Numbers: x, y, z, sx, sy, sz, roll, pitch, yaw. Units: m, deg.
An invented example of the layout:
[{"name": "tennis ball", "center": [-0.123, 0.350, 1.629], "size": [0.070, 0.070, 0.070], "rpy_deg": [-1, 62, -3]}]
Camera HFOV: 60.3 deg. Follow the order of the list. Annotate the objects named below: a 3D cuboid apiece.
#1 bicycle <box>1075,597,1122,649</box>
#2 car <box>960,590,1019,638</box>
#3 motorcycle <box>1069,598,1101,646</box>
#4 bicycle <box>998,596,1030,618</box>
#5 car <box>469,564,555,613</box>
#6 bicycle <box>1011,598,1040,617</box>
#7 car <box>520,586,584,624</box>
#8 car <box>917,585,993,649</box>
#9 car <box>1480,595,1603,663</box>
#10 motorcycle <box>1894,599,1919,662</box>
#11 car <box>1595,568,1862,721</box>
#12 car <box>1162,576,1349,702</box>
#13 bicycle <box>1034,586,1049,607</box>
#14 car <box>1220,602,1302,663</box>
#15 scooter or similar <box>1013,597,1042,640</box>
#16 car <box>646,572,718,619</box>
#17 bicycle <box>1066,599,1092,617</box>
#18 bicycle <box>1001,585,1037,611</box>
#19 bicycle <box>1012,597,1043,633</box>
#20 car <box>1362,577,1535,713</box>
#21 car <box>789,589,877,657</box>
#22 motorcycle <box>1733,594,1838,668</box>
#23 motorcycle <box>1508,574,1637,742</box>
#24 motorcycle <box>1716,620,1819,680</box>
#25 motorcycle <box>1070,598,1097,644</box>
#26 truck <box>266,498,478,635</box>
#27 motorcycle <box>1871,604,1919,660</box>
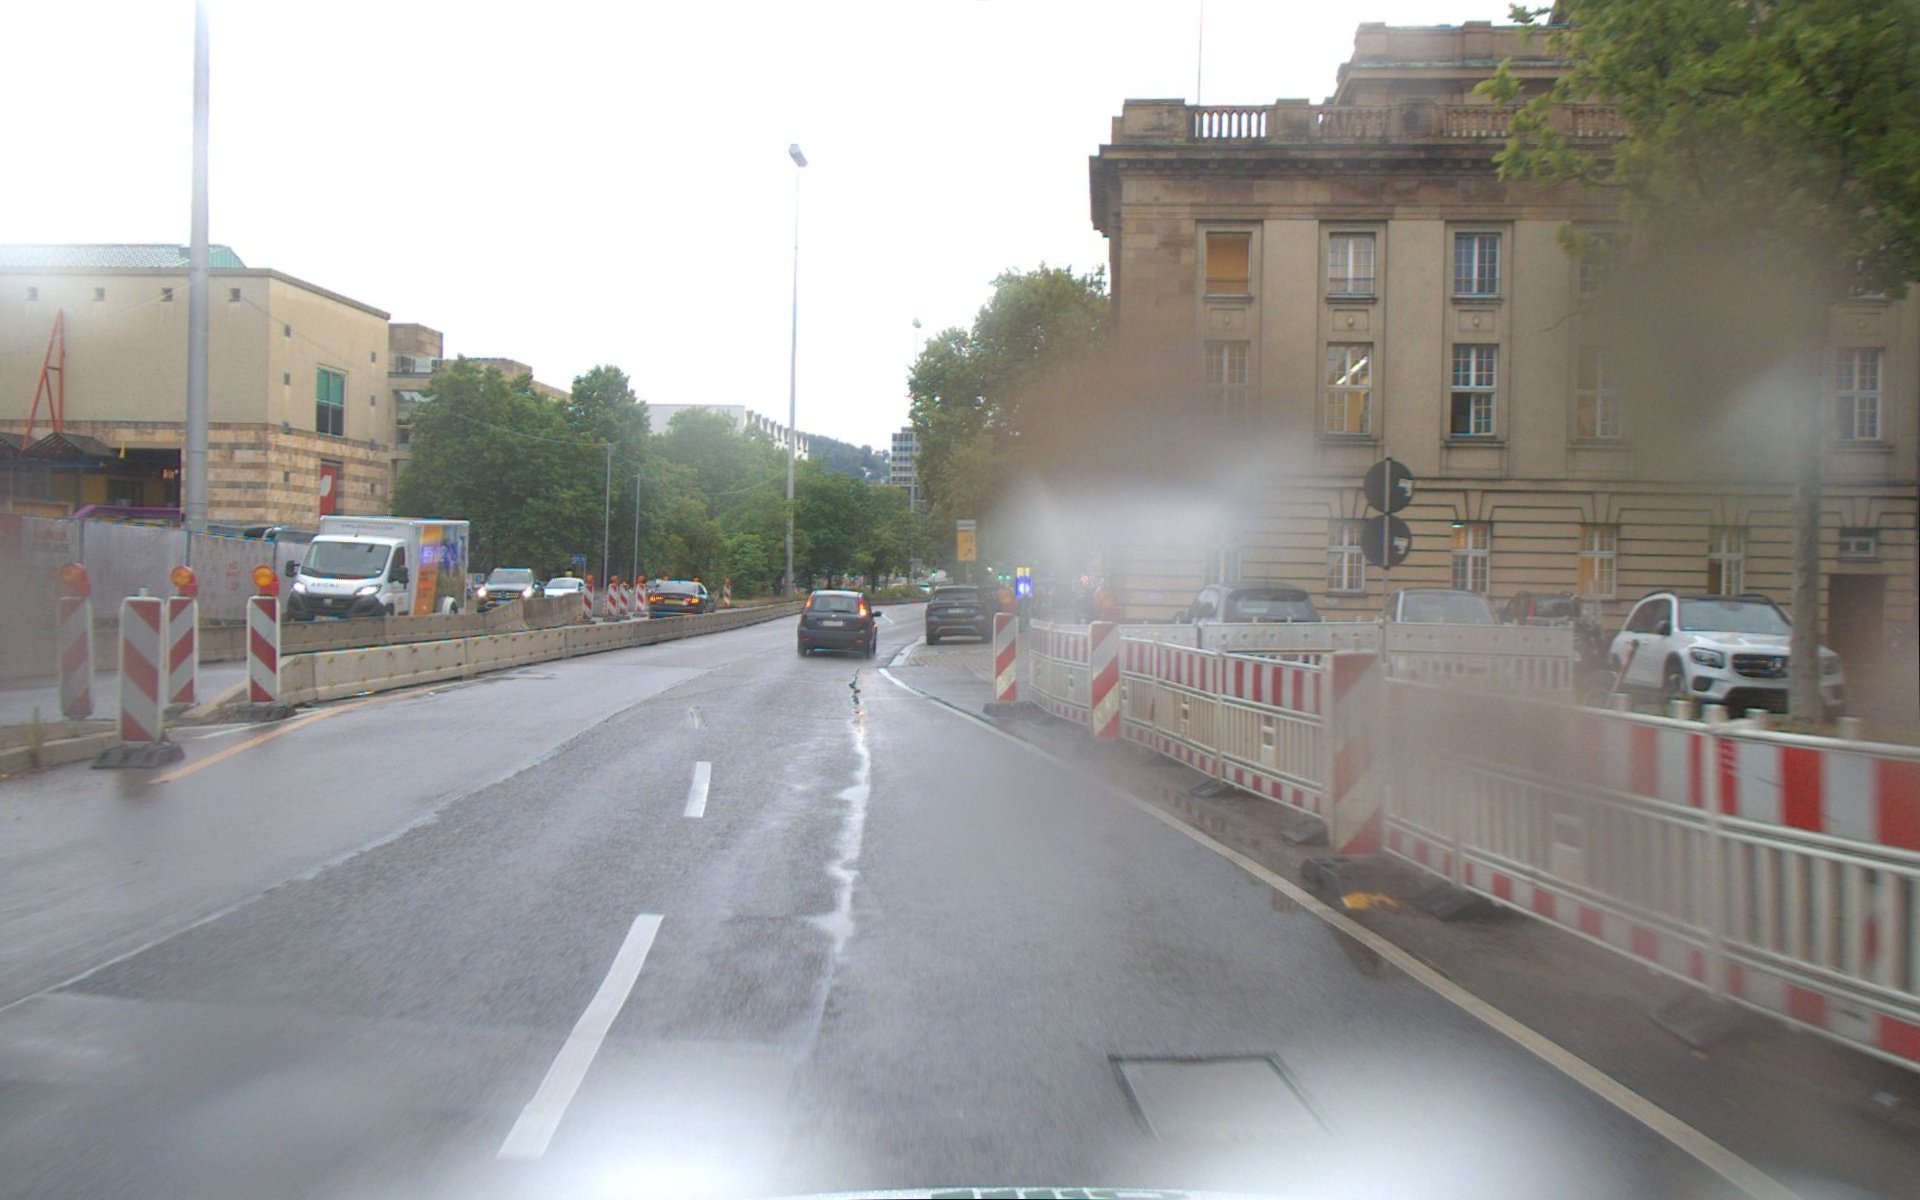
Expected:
[{"name": "bicycle", "center": [3.756, 0.610, 44.924], "size": [1.079, 1.340, 1.858], "rpy_deg": [2, 0, 0]}, {"name": "car", "center": [1.198, 0.544, 65.527], "size": [1.951, 1.812, 4.191], "rpy_deg": [2, 0, 6]}, {"name": "motorcycle", "center": [3.623, 0.623, 47.658], "size": [0.789, 1.321, 1.800], "rpy_deg": [2, 0, 7]}, {"name": "bicycle", "center": [2.907, 0.386, 89.579], "size": [1.643, 1.109, 0.651], "rpy_deg": [2, 0, 6]}, {"name": "car", "center": [-15.113, -0.396, 56.044], "size": [1.882, 1.556, 4.757], "rpy_deg": [1, 1, -4]}, {"name": "bicycle", "center": [3.621, 0.430, 91.581], "size": [1.556, 1.012, 0.525], "rpy_deg": [2, 0, 6]}, {"name": "car", "center": [-17.534, 0.189, 71.238], "size": [1.954, 1.556, 3.997], "rpy_deg": [1, 1, -4]}, {"name": "car", "center": [-0.088, 0.423, 45.338], "size": [1.832, 1.647, 4.406], "rpy_deg": [0, 0, 3]}, {"name": "car", "center": [14.451, 0.679, 41.334], "size": [1.780, 1.566, 4.511], "rpy_deg": [0, 1, 4]}, {"name": "motorcycle", "center": [23.449, 0.738, 39.700], "size": [1.625, 1.499, 0.735], "rpy_deg": [0, 0, 8]}, {"name": "car", "center": [9.558, 0.502, 20.982], "size": [1.913, 1.713, 4.496], "rpy_deg": [0, 0, 9]}, {"name": "car", "center": [3.894, 0.509, 22.341], "size": [1.653, 1.521, 3.618], "rpy_deg": [2, -1, -4]}, {"name": "bicycle", "center": [4.811, -0.181, 97.288], "size": [0.592, 1.218, 1.906], "rpy_deg": [0, -1, 11]}, {"name": "car", "center": [7.490, 0.787, 41.475], "size": [1.489, 1.435, 4.129], "rpy_deg": [1, 0, 3]}, {"name": "scooter or similar", "center": [2.114, 0.580, 51.793], "size": [0.427, 1.315, 1.251], "rpy_deg": [2, 0, -20]}, {"name": "car", "center": [-9.093, -0.125, 54.351], "size": [1.718, 1.477, 4.000], "rpy_deg": [0, 0, 0]}, {"name": "bicycle", "center": [7.763, 0.510, 107.969], "size": [1.606, 1.038, 0.575], "rpy_deg": [3, 0, 9]}, {"name": "bicycle", "center": [3.230, -0.089, 89.969], "size": [1.866, 1.355, 0.651], "rpy_deg": [2, 0, 6]}, {"name": "bicycle", "center": [2.368, 0.508, 58.151], "size": [0.761, 1.240, 1.962], "rpy_deg": [0, 0, -7]}, {"name": "car", "center": [6.022, 0.528, 20.667], "size": [1.548, 1.564, 3.023], "rpy_deg": [0, -1, 6]}, {"name": "car", "center": [-2.915, 0.515, 37.343], "size": [1.809, 1.441, 3.833], "rpy_deg": [0, -1, -7]}, {"name": "motorcycle", "center": [18.964, 0.698, 38.036], "size": [1.929, 1.571, 0.851], "rpy_deg": [2, 1, 5]}, {"name": "motorcycle", "center": [7.506, 0.669, 20.403], "size": [0.733, 1.937, 2.591], "rpy_deg": [0, 0, 3]}, {"name": "motorcycle", "center": [19.066, 1.179, 39.080], "size": [1.930, 1.217, 0.850], "rpy_deg": [5, 1, 5]}, {"name": "motorcycle", "center": [3.742, 0.623, 49.965], "size": [0.653, 1.349, 2.136], "rpy_deg": [2, 0, 7]}, {"name": "truck", "center": [-13.210, -0.738, 37.848], "size": [2.349, 2.766, 7.353], "rpy_deg": [1, 1, -2]}, {"name": "motorcycle", "center": [23.805, 0.801, 41.335], "size": [1.625, 1.362, 0.735], "rpy_deg": [-1, -1, 8]}]
